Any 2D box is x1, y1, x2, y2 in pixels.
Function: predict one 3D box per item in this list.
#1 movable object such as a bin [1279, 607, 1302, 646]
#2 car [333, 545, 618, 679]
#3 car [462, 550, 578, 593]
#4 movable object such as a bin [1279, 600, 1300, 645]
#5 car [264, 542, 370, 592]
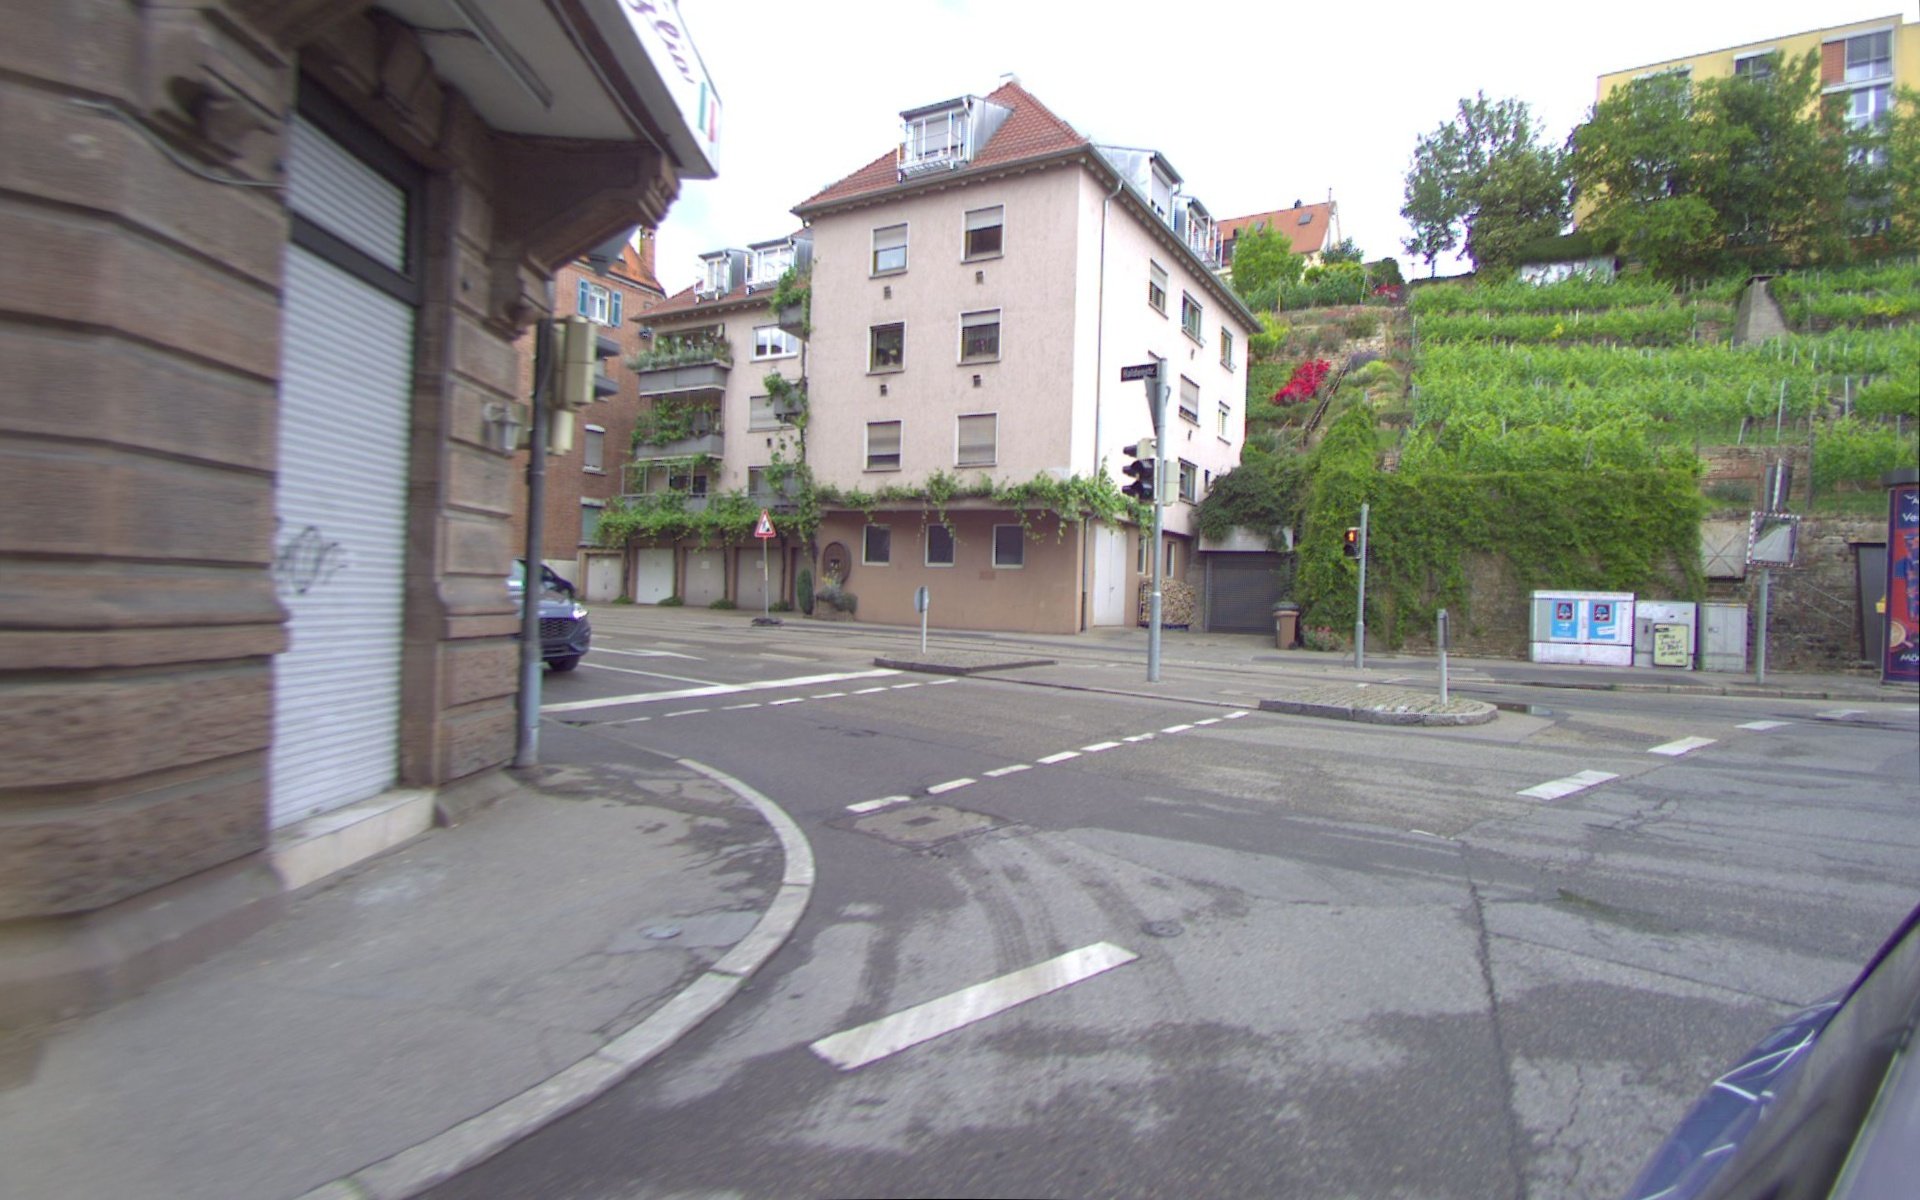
[{"bbox_3d":[7.950,0.637,24.349,0.488,0.923,0.343,0,-1,15],"label":"movable object such as a bin"},{"bbox_3d":[-6.887,0.041,14.236,4.264,1.533,1.973,3,4,38],"label":"car"},{"bbox_3d":[-17.000,-1.089,39.276,1.853,1.571,3.887,2,2,27],"label":"car"},{"bbox_3d":[8.088,0.549,24.853,0.466,1.096,0.406,0,0,15],"label":"movable object such as a bin"},{"bbox_3d":[-23.619,-1.209,37.122,3.974,1.739,1.931,2,2,35],"label":"car"}]
